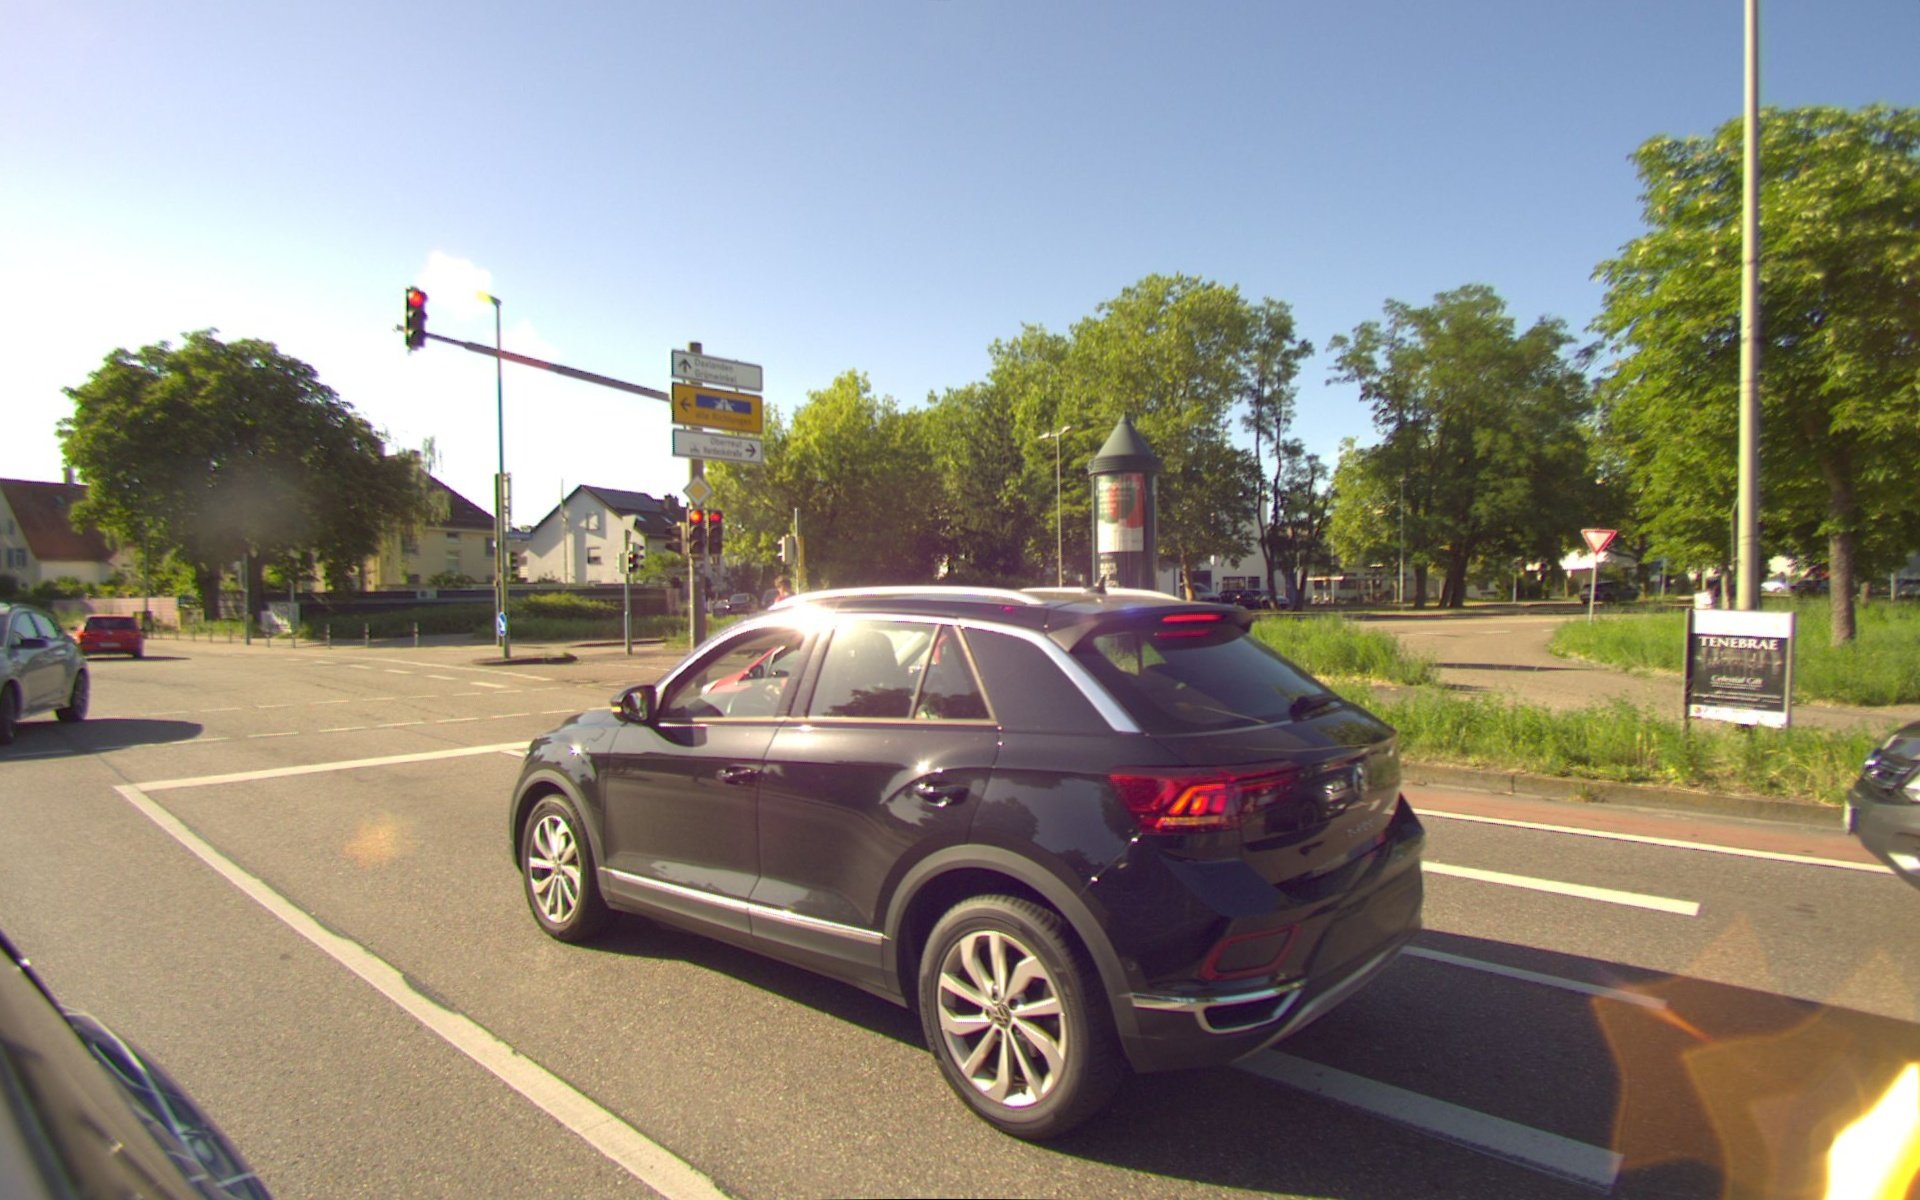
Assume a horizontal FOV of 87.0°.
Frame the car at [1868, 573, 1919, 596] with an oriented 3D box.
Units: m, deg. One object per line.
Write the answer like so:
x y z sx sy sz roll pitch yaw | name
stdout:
64.120 -1.078 69.121 3.423 1.451 1.879 -2 2 -24 | car

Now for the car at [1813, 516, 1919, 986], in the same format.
5.614 0.516 3.274 4.266 1.749 1.834 -2 -2 39 | car

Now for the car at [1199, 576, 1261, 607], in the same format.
19.402 -0.599 72.797 1.966 2.029 4.011 -2 0 -33 | car

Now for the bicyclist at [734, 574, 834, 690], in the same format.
-2.266 0.393 13.027 0.822 1.412 0.923 -2 0 42 | bicyclist

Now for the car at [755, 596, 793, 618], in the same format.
-15.019 0.521 81.916 1.939 1.679 3.993 -1 0 6 | car

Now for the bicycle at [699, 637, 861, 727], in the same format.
-2.372 1.012 13.135 2.197 1.024 0.927 -2 0 43 | bicycle

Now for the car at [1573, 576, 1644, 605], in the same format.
43.739 -0.660 68.295 3.931 1.809 2.016 -2 0 -20 | car

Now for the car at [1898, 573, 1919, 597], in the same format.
61.202 -0.952 63.523 3.931 1.460 2.007 -2 2 -24 | car

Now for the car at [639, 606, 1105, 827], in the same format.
-0.894 0.790 8.589 3.889 1.425 1.765 -1 0 42 | car

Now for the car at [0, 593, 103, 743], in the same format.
-11.853 0.774 11.833 1.686 1.658 4.068 -2 1 -24 | car

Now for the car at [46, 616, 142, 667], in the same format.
-27.503 1.258 32.095 4.138 1.481 1.837 -1 0 43 | car

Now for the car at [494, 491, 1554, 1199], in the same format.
-0.070 0.612 4.117 3.999 1.611 1.893 -1 -1 42 | car

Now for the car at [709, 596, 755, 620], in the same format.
-15.843 0.551 70.444 1.975 1.568 3.994 -1 0 5 | car

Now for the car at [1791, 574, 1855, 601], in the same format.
58.013 -0.857 67.998 3.931 1.631 1.744 -2 2 -24 | car

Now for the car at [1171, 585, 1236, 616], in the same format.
16.642 0.071 69.296 1.966 2.029 4.011 -2 0 -33 | car
